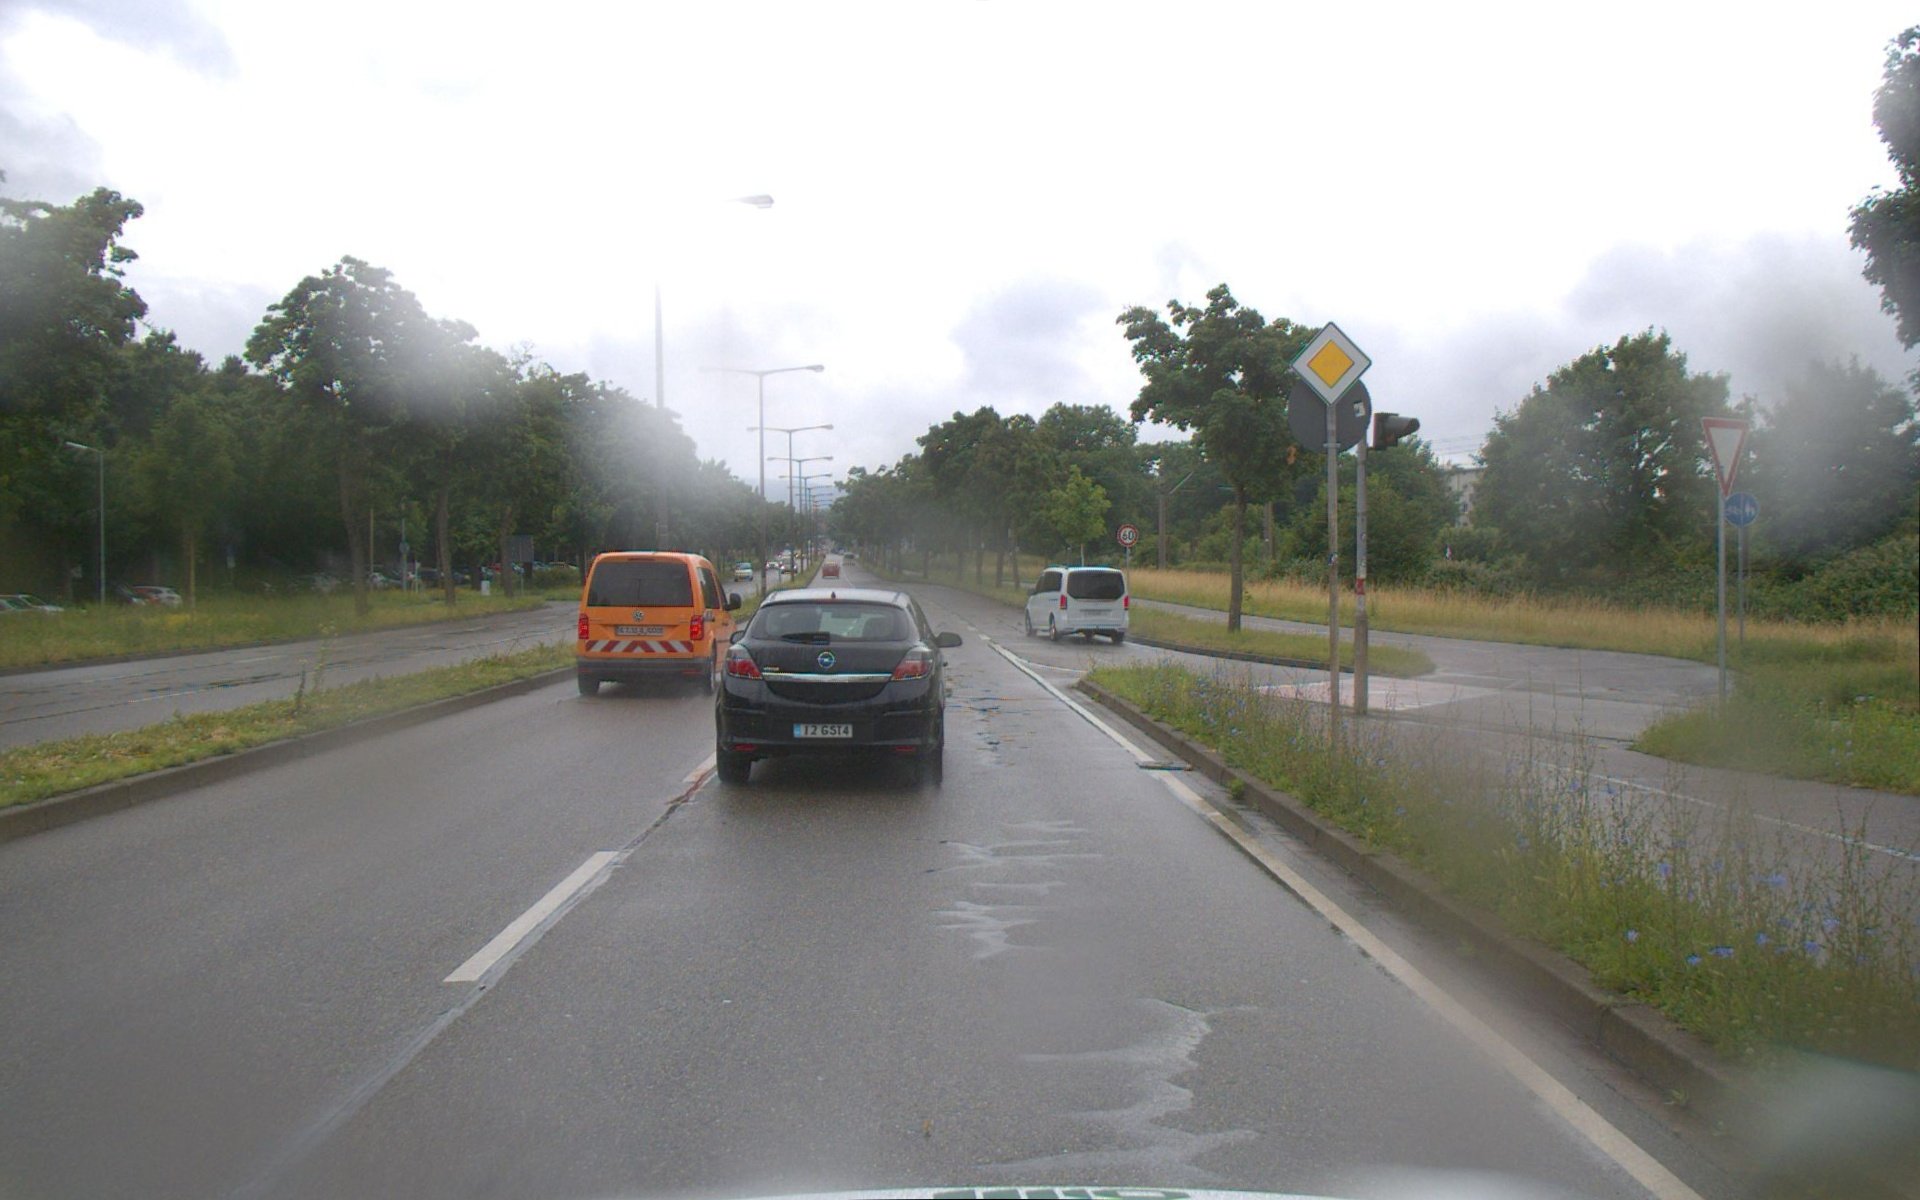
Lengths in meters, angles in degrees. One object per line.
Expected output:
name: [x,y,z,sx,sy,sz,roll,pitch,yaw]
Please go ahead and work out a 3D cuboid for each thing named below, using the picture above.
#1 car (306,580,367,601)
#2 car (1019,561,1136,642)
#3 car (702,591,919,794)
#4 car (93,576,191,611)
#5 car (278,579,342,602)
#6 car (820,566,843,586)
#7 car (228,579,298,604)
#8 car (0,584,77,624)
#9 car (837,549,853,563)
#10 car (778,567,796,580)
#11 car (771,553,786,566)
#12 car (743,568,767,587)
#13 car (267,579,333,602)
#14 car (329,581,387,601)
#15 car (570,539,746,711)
car: [-44.470,-0.680,118.036,3.763,1.477,1.522,-1,1,-8]
car: [3.018,0.020,43.397,2.021,2.009,4.598,1,0,-10]
car: [-1.086,0.633,13.364,1.433,1.352,3.758,0,1,-1]
car: [-40.791,-0.323,82.573,3.912,1.668,1.908,-1,1,-8]
car: [-44.314,-0.644,112.837,3.763,1.477,1.522,-1,1,-8]
car: [-12.310,-2.319,158.609,1.953,1.912,4.000,0,0,0]
car: [-43.216,-0.531,102.576,3.664,1.451,1.486,-1,1,-8]
car: [-40.017,0.176,70.305,3.912,1.646,1.997,0,1,-8]
car: [-18.069,-6.991,260.671,2.466,2.088,5.289,0,1,-4]
car: [-19.372,-2.998,185.225,1.791,1.475,3.807,0,1,-3]
car: [-23.753,-5.278,216.197,1.686,1.555,3.808,0,2,-3]
car: [-18.217,-1.988,147.110,1.649,1.581,3.999,1,1,-1]
car: [-43.959,-0.634,110.178,3.763,1.477,1.522,-1,1,-8]
car: [-44.748,-0.675,123.044,3.763,1.477,1.522,-1,1,-8]
car: [-4.000,0.272,22.617,1.700,2.054,4.847,1,1,-3]
